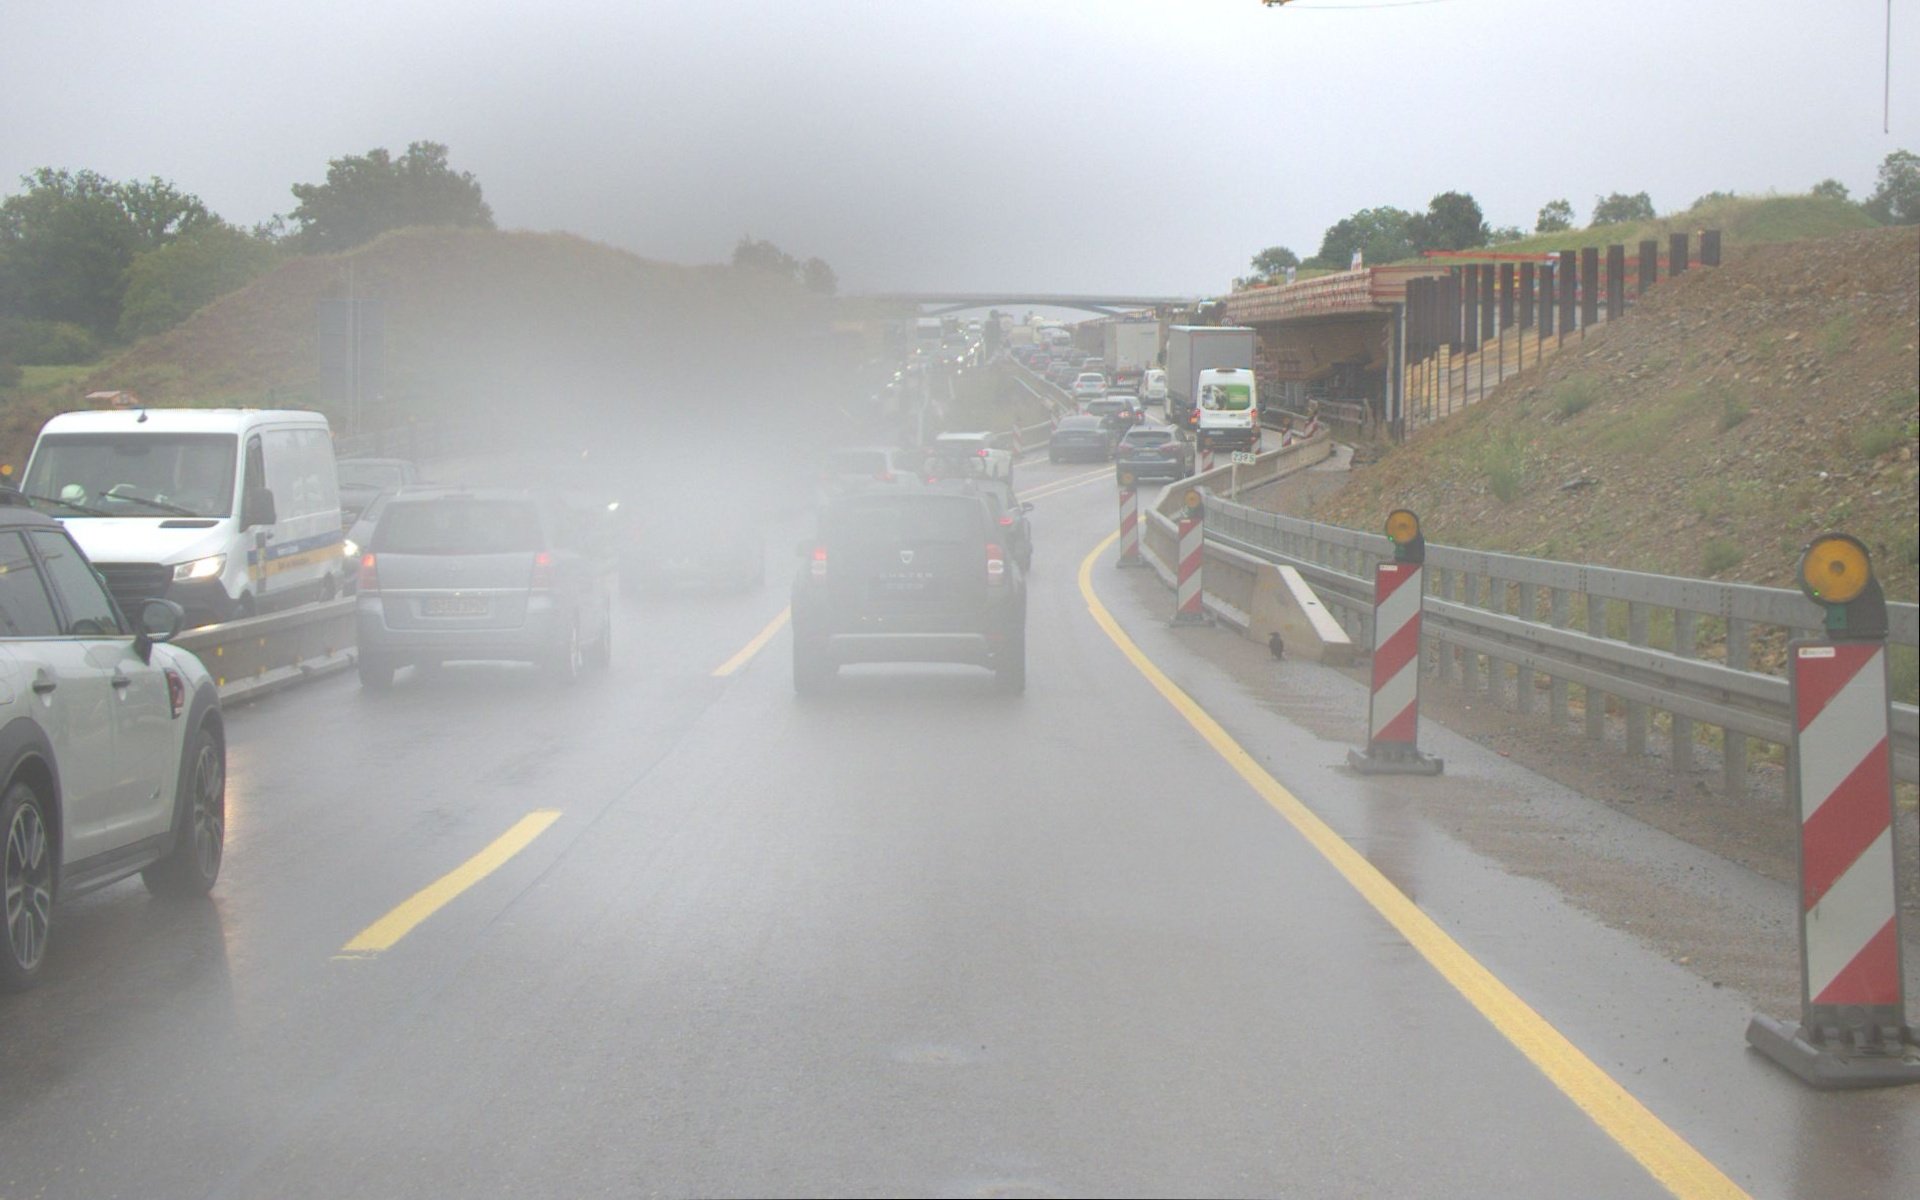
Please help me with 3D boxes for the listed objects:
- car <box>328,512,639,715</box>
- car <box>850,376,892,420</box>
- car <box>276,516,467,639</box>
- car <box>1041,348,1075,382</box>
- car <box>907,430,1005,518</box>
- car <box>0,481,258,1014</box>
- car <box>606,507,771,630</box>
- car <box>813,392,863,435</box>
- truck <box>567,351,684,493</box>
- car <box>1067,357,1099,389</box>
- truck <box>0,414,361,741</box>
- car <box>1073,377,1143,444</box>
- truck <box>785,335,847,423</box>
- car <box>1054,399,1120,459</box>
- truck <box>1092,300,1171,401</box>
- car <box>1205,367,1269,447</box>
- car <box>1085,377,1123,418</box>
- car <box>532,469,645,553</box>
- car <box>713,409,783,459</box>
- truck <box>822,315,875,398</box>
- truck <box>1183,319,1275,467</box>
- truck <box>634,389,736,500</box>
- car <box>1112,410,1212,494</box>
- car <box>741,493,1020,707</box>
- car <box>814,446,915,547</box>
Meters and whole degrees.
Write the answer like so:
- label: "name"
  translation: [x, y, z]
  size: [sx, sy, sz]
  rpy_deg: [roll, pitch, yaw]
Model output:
- label: "car"
  translation: [-3.931, 0.078, 29.029]
  size: [1.993, 1.595, 4.140]
  rpy_deg: [0, 1, 1]
- label: "car"
  translation: [-4.044, -9.164, 156.348]
  size: [1.785, 1.803, 4.499]
  rpy_deg: [0, 1, 0]
- label: "car"
  translation: [-7.769, -0.343, 45.737]
  size: [1.787, 1.533, 4.312]
  rpy_deg: [0, 2, 0]
- label: "car"
  translation: [6.198, -14.865, 217.483]
  size: [1.993, 2.006, 4.001]
  rpy_deg: [-1, 2, 0]
- label: "car"
  translation: [-0.077, -3.194, 87.847]
  size: [1.994, 2.155, 4.139]
  rpy_deg: [0, 1, 8]
- label: "car"
  translation: [-3.812, 0.398, 12.207]
  size: [1.816, 1.595, 4.308]
  rpy_deg: [0, 1, -1]
- label: "car"
  translation: [-3.623, -0.433, 46.537]
  size: [1.993, 1.595, 4.141]
  rpy_deg: [0, 1, -1]
- label: "car"
  translation: [-4.830, -7.403, 136.405]
  size: [1.737, 1.678, 5.553]
  rpy_deg: [1, 3, 0]
- label: "truck"
  translation: [-9.717, -5.221, 100.637]
  size: [2.641, 3.956, 9.215]
  rpy_deg: [0, 3, -1]
- label: "car"
  translation: [8.373, -15.440, 233.887]
  size: [1.993, 2.007, 4.000]
  rpy_deg: [0, 1, -1]
- label: "truck"
  translation: [-6.769, -0.219, 29.978]
  size: [2.078, 2.567, 5.962]
  rpy_deg: [0, 1, 0]
- label: "car"
  translation: [5.133, -6.529, 118.843]
  size: [1.994, 2.155, 4.139]
  rpy_deg: [0, 1, 8]
- label: "truck"
  translation: [-8.350, -12.814, 200.123]
  size: [3.083, 4.902, 8.565]
  rpy_deg: [0, 3, 1]
- label: "car"
  translation: [3.950, -5.338, 107.724]
  size: [1.993, 1.755, 3.815]
  rpy_deg: [0, 1, 1]
- label: "truck"
  translation: [9.760, -14.210, 196.963]
  size: [3.804, 5.025, 12.922]
  rpy_deg: [0, 1, 0]
- label: "car"
  translation: [9.331, -6.457, 115.423]
  size: [1.994, 2.475, 4.981]
  rpy_deg: [0, 1, 6]
- label: "car"
  translation: [7.393, -10.429, 177.161]
  size: [1.849, 1.887, 4.021]
  rpy_deg: [0, 1, 1]
- label: "car"
  translation: [-6.974, -1.709, 64.849]
  size: [1.676, 1.518, 4.345]
  rpy_deg: [0, 2, 0]
- label: "car"
  translation: [-6.349, -4.991, 103.252]
  size: [1.868, 1.466, 4.671]
  rpy_deg: [0, 3, -1]
- label: "truck"
  translation: [-7.499, -16.384, 232.229]
  size: [3.142, 5.398, 8.524]
  rpy_deg: [0, 3, 1]
- label: "truck"
  translation: [10.757, -8.133, 136.650]
  size: [3.102, 5.407, 9.440]
  rpy_deg: [0, 1, 8]
- label: "truck"
  translation: [-6.909, -3.927, 86.877]
  size: [2.147, 2.704, 6.017]
  rpy_deg: [0, 2, -1]
- label: "car"
  translation: [5.493, -3.982, 93.192]
  size: [1.995, 2.155, 4.138]
  rpy_deg: [0, 1, 14]
- label: "car"
  translation: [-0.568, -0.028, 27.750]
  size: [2.081, 1.595, 4.140]
  rpy_deg: [0, 1, 1]
- label: "car"
  translation: [-1.918, -2.082, 70.050]
  size: [1.993, 2.007, 3.894]
  rpy_deg: [0, 1, -1]
